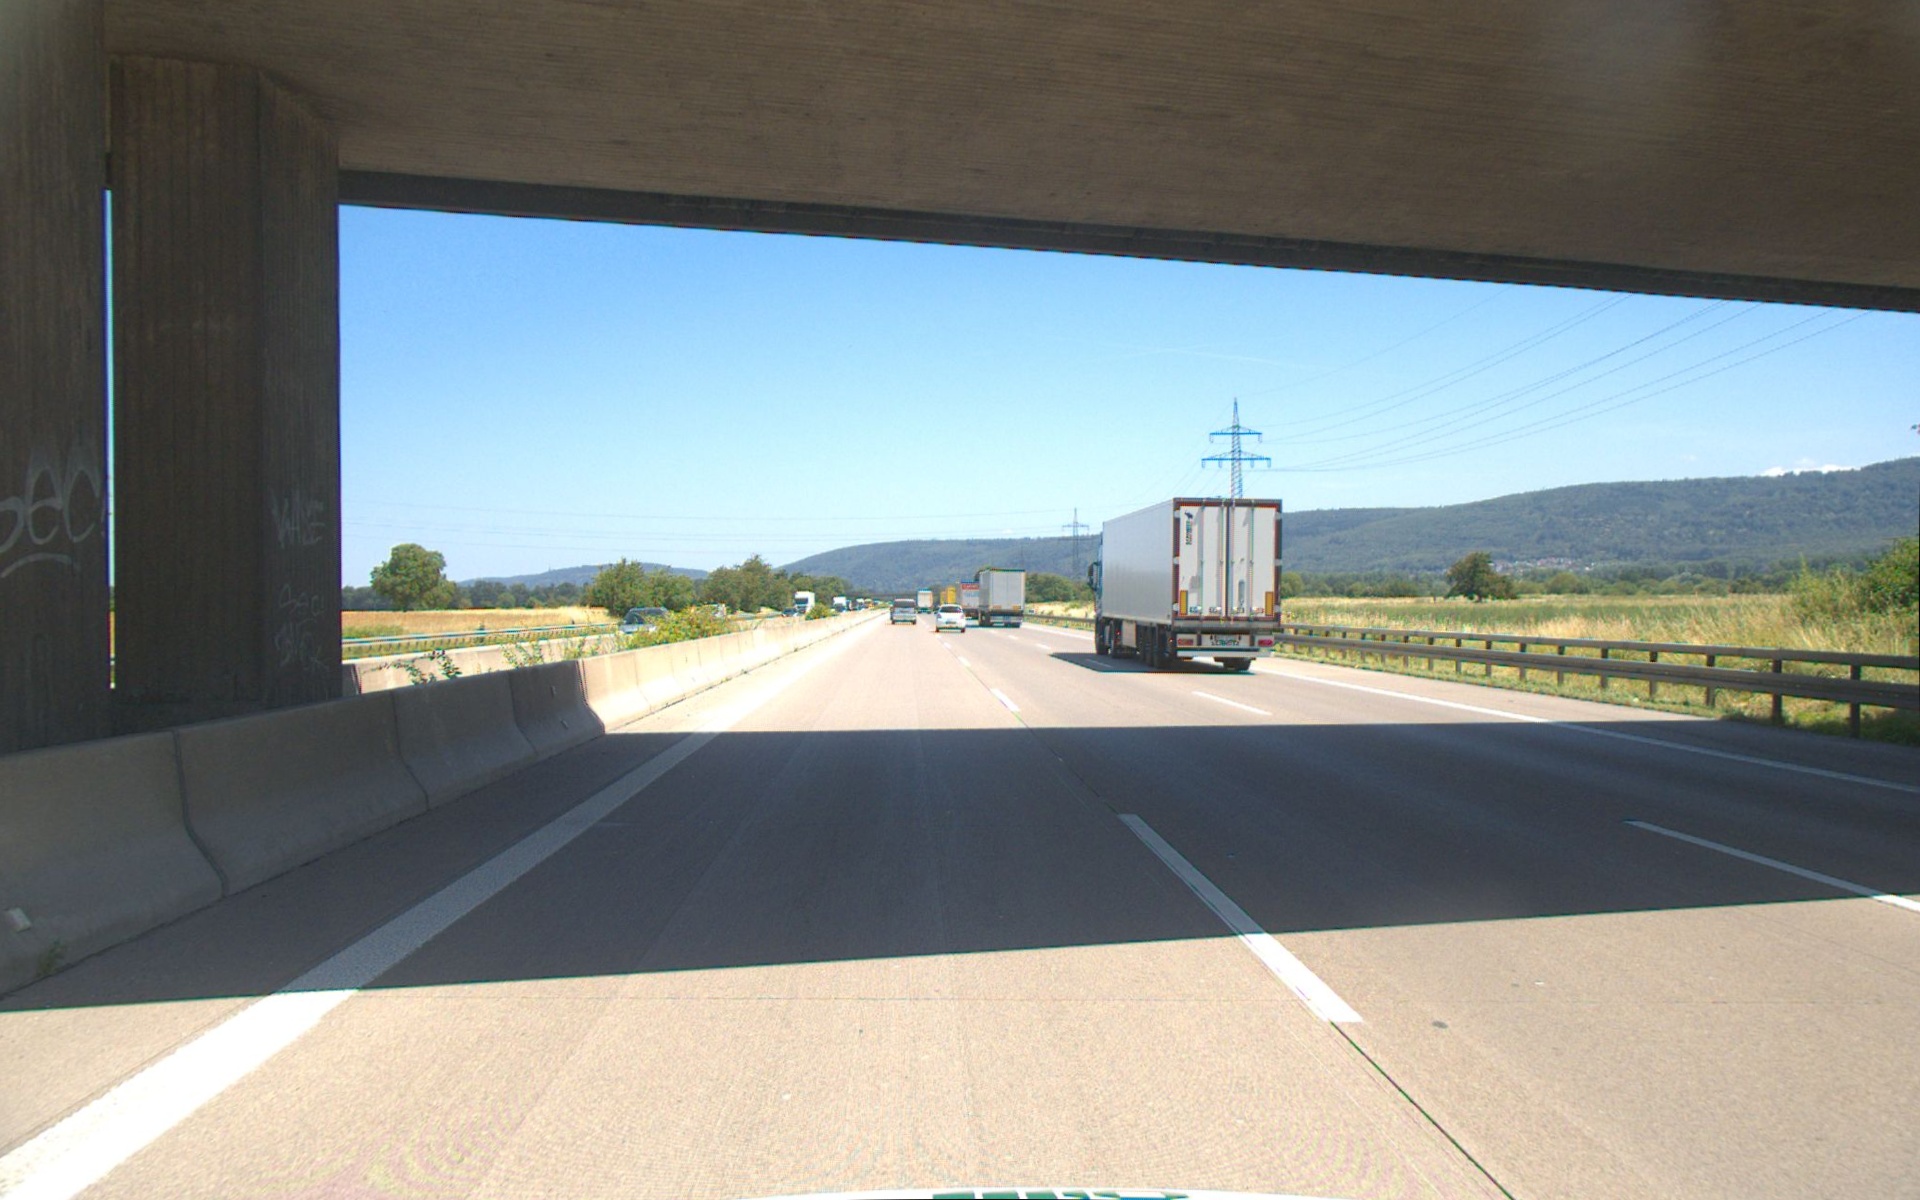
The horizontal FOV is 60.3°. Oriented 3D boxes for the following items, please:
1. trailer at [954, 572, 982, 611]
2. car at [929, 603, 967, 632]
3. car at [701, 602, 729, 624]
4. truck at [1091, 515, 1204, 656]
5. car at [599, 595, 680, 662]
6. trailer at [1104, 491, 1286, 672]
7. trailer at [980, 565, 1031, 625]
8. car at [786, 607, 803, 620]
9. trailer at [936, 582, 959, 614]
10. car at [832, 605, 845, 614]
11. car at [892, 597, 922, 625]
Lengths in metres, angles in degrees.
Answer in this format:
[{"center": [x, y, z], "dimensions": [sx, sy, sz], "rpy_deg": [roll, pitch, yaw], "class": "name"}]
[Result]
[{"center": [0.845, -0.872, 185.970], "dimensions": [2.815, 4.172, 13.509], "rpy_deg": [1, 0, -1], "class": "trailer"}, {"center": [-0.681, 0.991, 93.335], "dimensions": [2.064, 1.563, 4.121], "rpy_deg": [1, 0, -1], "class": "car"}, {"center": [-22.247, 1.162, 150.137], "dimensions": [1.827, 1.978, 5.563], "rpy_deg": [1, 0, -2], "class": "car"}, {"center": [5.775, -0.422, 51.693], "dimensions": [2.695, 4.114, 5.464], "rpy_deg": [1, 0, -2], "class": "truck"}, {"center": [-10.275, 0.889, 53.267], "dimensions": [1.801, 2.049, 3.999], "rpy_deg": [1, 0, -1], "class": "car"}, {"center": [5.986, -0.420, 44.583], "dimensions": [2.654, 4.114, 12.897], "rpy_deg": [1, 0, -2], "class": "trailer"}, {"center": [3.253, -0.350, 122.044], "dimensions": [2.957, 4.132, 14.202], "rpy_deg": [1, 0, -1], "class": "trailer"}, {"center": [-19.263, 1.557, 192.760], "dimensions": [1.678, 1.383, 5.041], "rpy_deg": [1, 0, -2], "class": "car"}, {"center": [-1.963, -0.293, 248.056], "dimensions": [3.151, 4.643, 13.452], "rpy_deg": [1, 0, -2], "class": "trailer"}, {"center": [-17.359, 1.374, 236.650], "dimensions": [1.736, 1.261, 4.675], "rpy_deg": [1, 0, -2], "class": "car"}, {"center": [-4.072, 0.859, 128.038], "dimensions": [2.209, 2.049, 4.296], "rpy_deg": [1, 0, -1], "class": "car"}]
